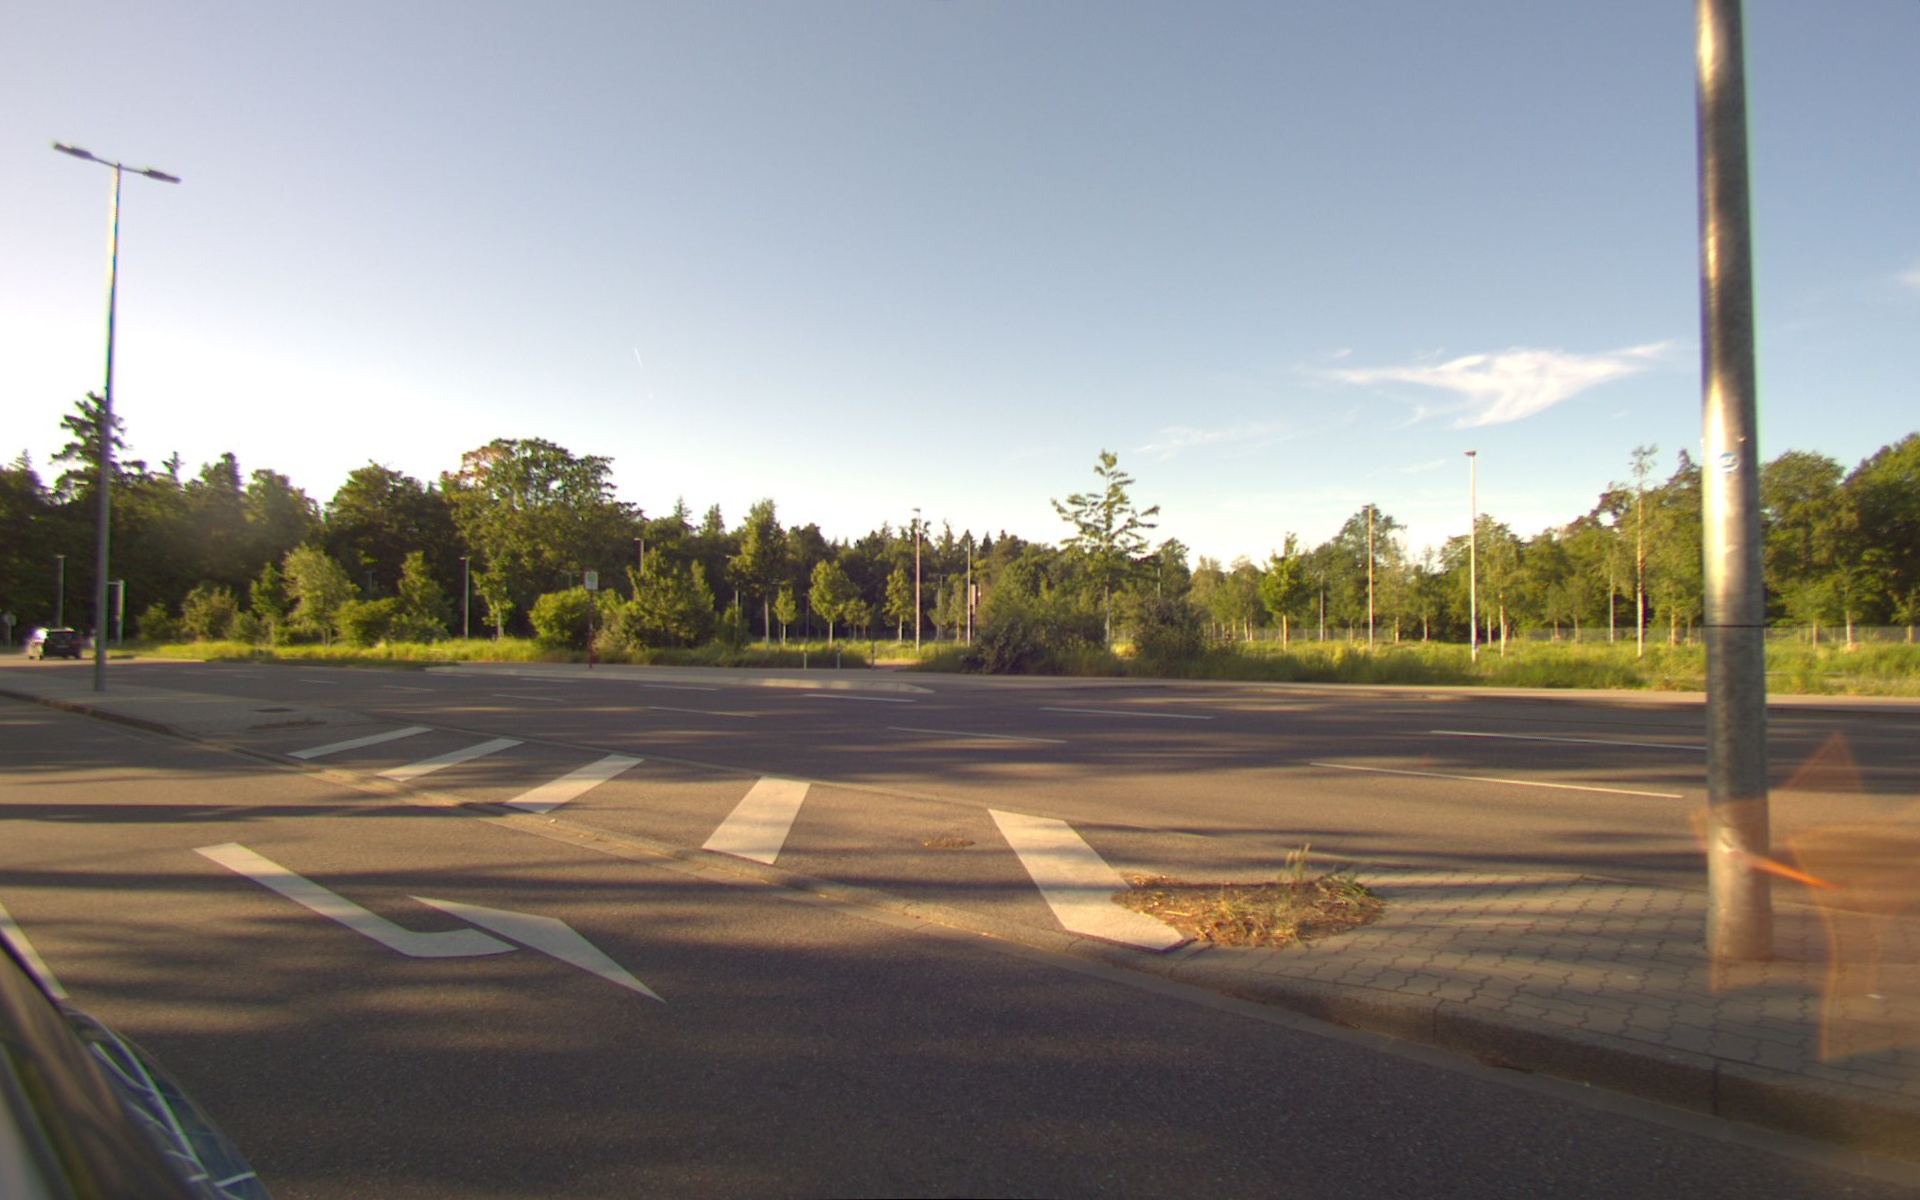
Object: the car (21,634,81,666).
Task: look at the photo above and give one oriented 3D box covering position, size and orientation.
[{"bbox_3d":[-51.009,2.817,56.768,4.697,1.705,1.765,-3,-2,39],"label":"car"}]
